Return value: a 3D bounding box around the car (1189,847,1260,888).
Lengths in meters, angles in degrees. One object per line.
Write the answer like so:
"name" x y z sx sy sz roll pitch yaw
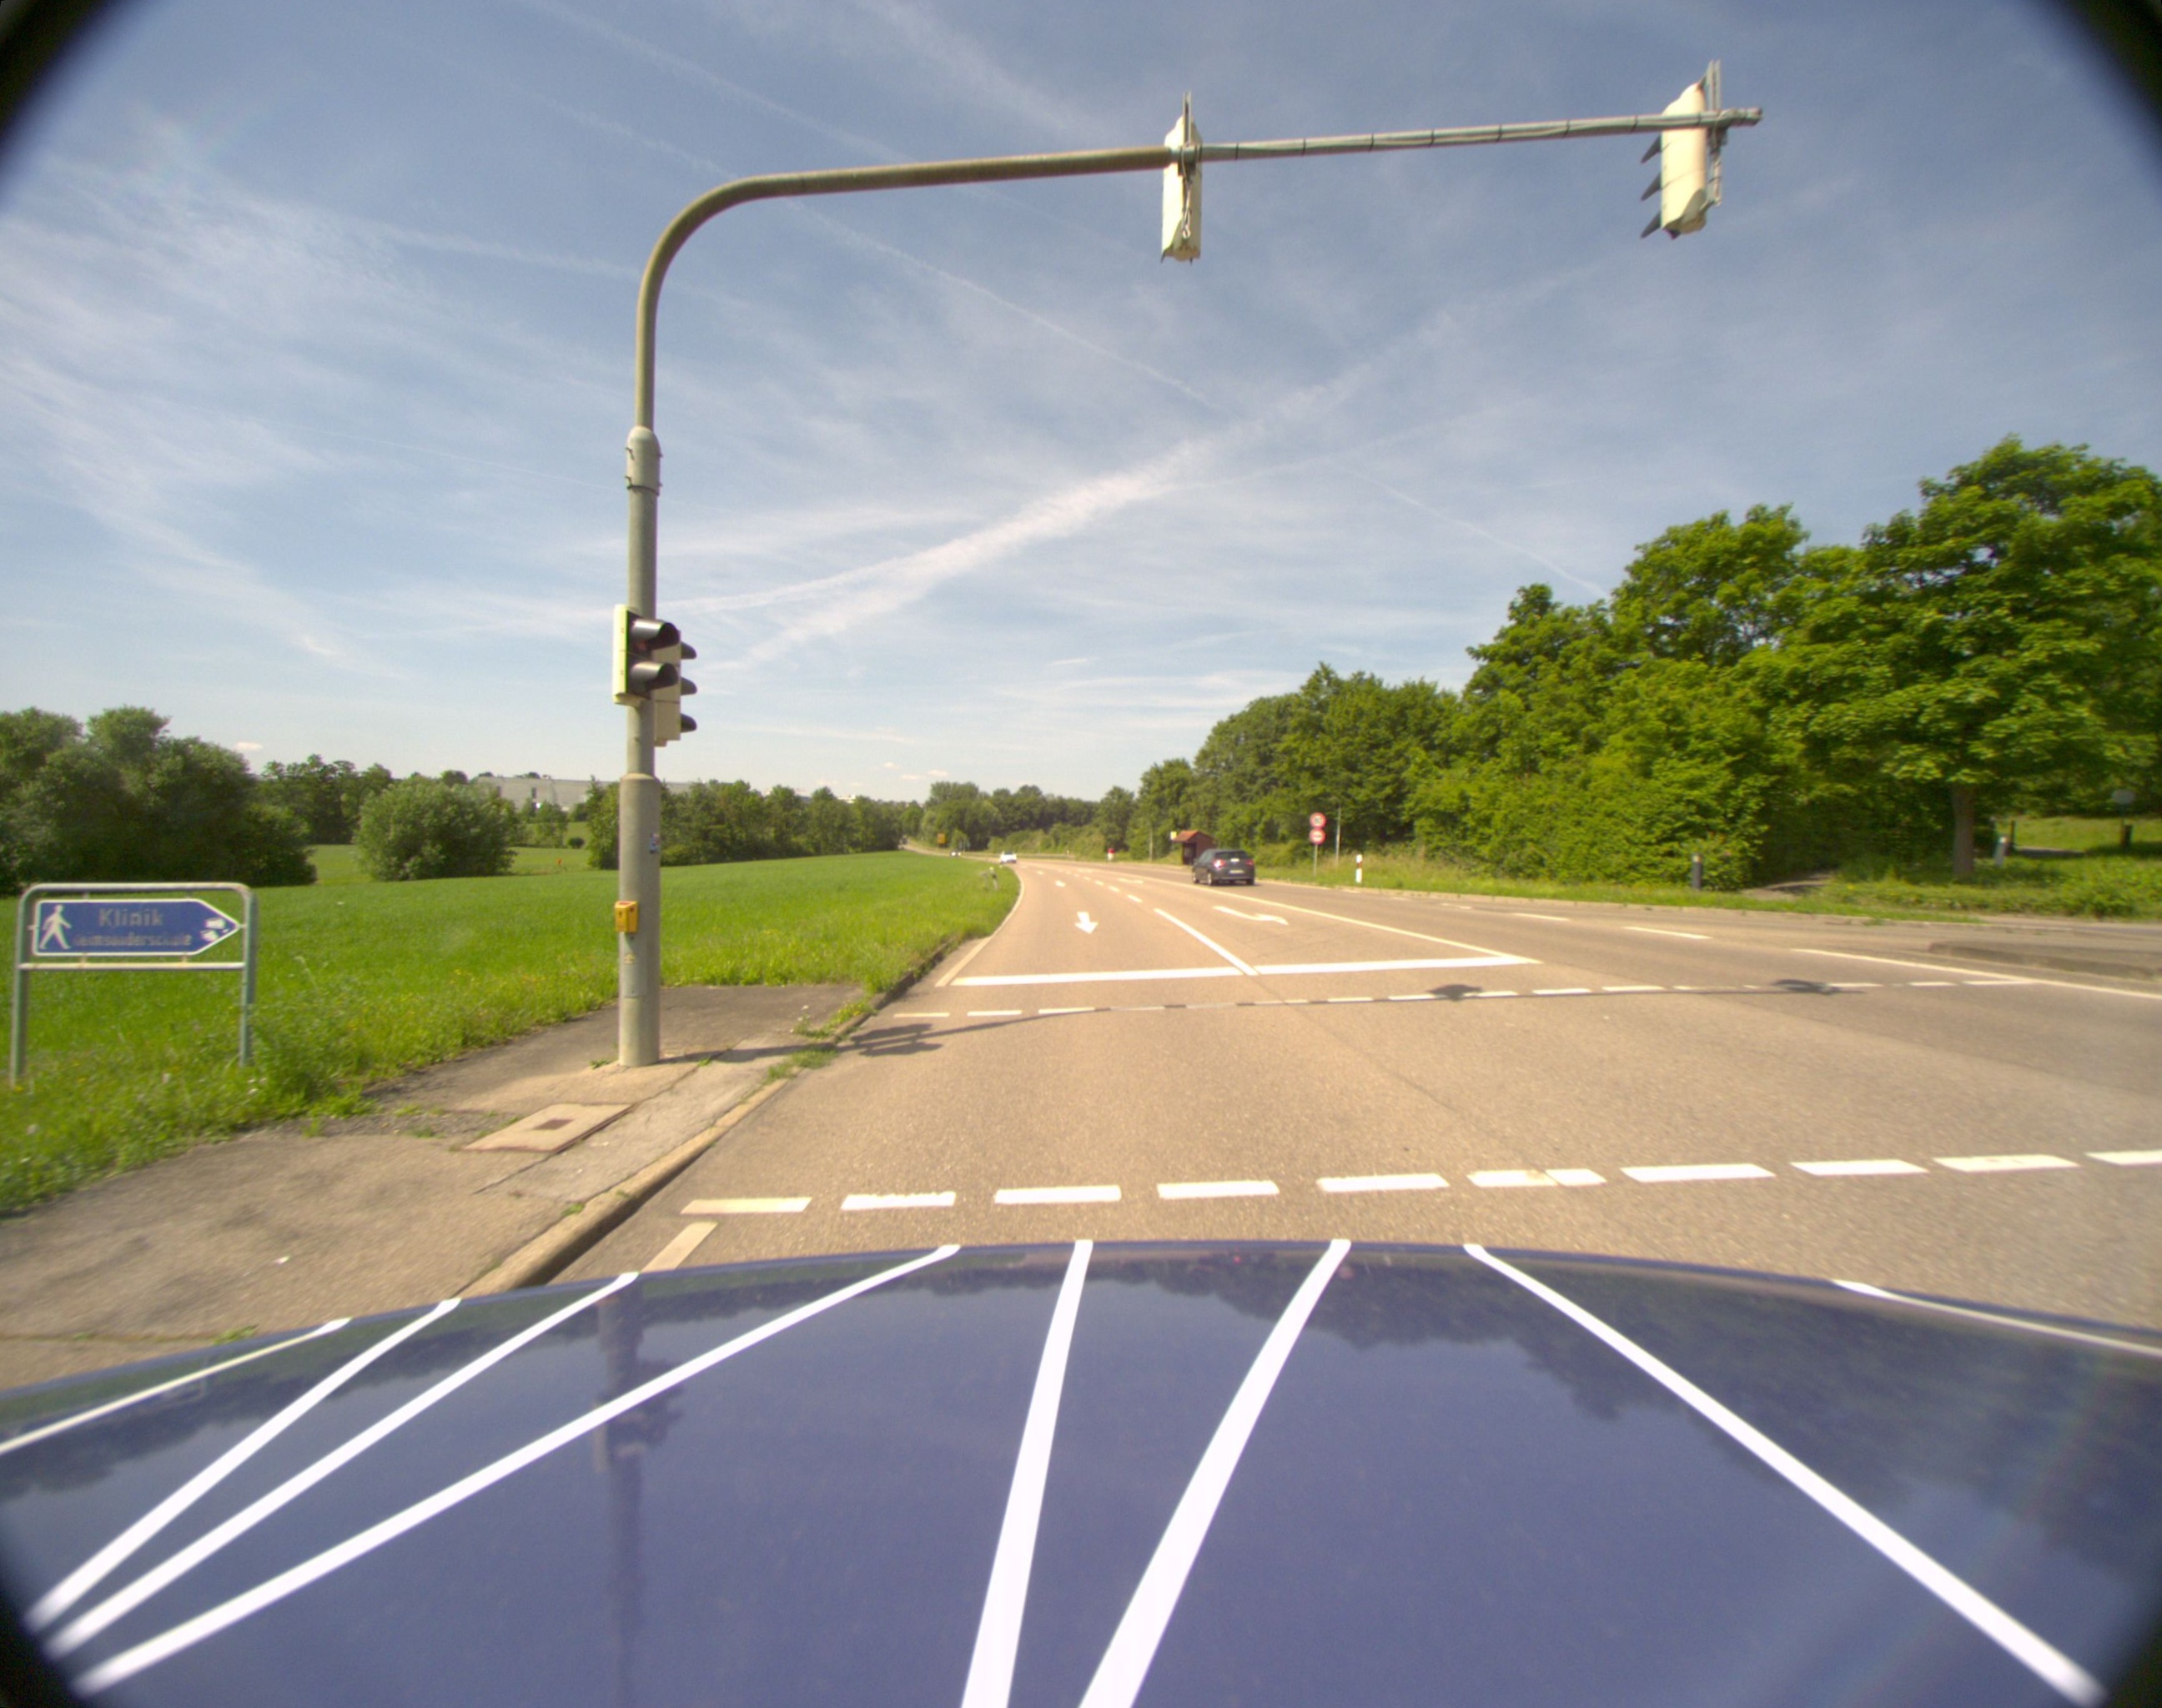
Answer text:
"car" 5.748 0.494 30.918 1.796 1.466 4.308 -1 1 -3

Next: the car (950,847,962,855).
"car" -26.395 -0.685 160.282 2.001 1.576 3.994 -2 1 -17

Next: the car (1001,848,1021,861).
"car" -8.874 0.043 96.204 2.001 1.576 3.995 -2 1 -14
